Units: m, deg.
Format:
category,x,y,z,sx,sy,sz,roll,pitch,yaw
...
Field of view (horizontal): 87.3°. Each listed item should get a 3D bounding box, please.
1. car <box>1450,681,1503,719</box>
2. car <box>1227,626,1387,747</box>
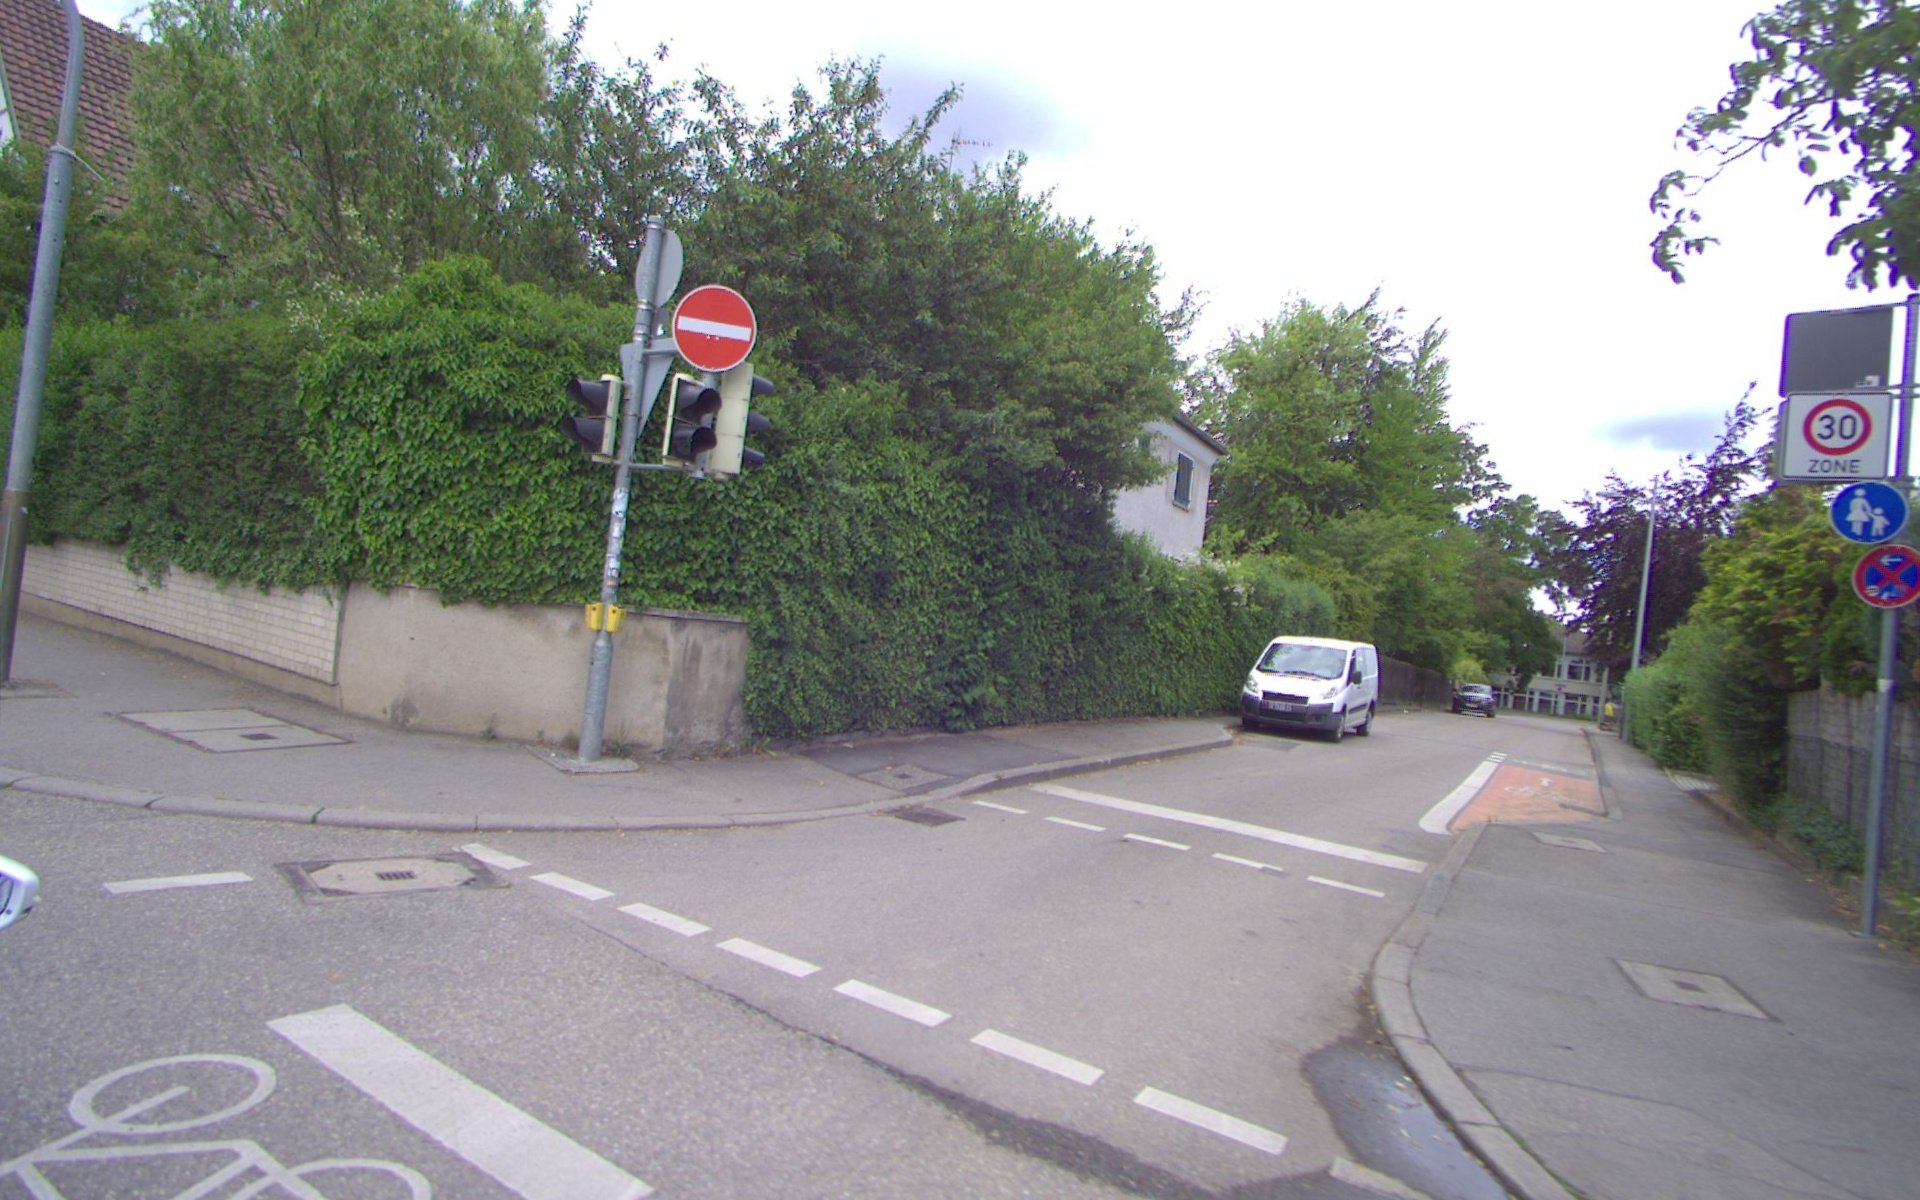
category,x,y,z,sx,sy,sz,roll,pitch,yaw
car,26.022,5.010,50.625,1.806,1.613,3.991,7,0,33
car,7.108,1.697,20.252,1.966,1.929,4.896,6,-1,30
